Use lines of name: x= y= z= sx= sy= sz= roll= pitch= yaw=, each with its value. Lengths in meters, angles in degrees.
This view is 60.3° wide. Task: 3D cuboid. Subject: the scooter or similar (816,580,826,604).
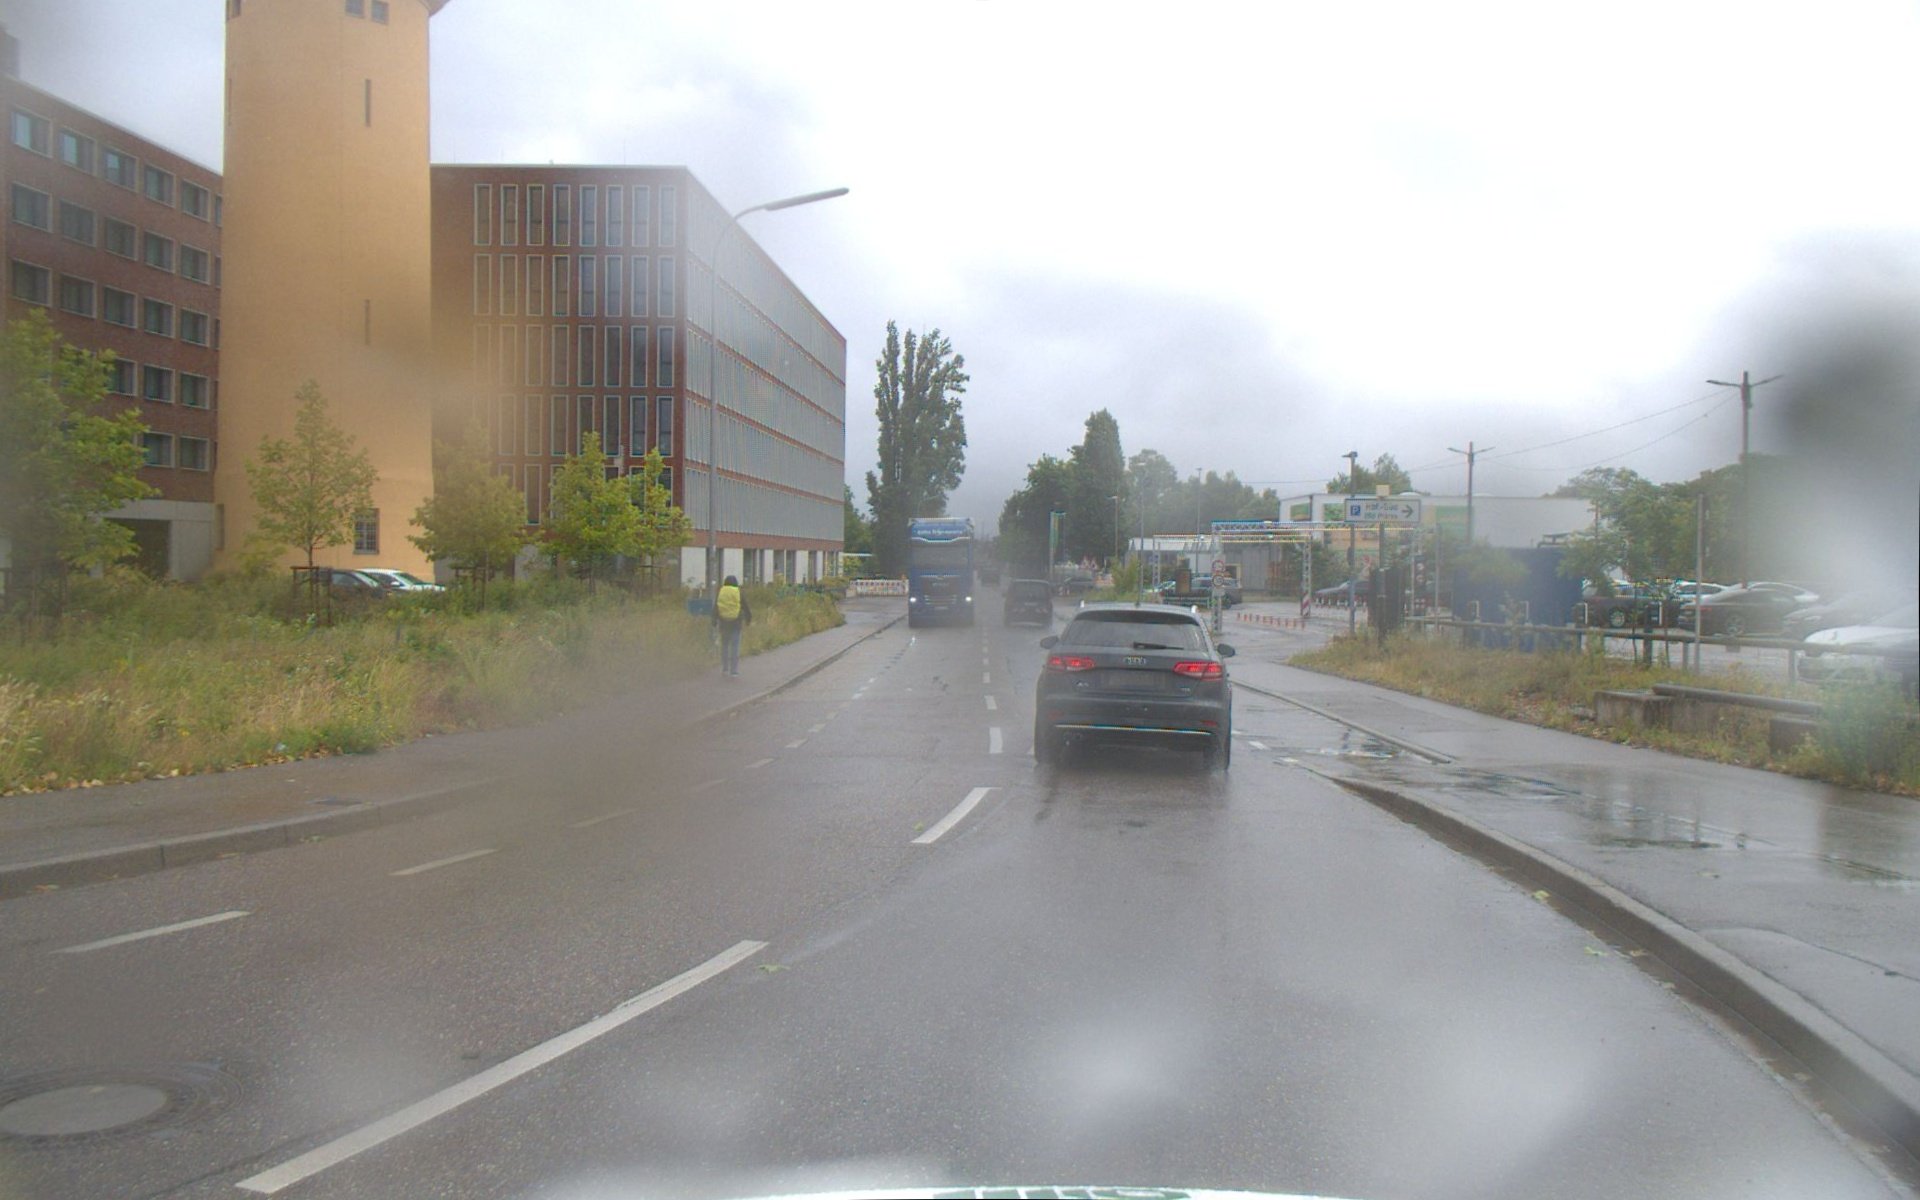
scooter or similar: x=-7.294 y=-0.442 z=86.678 sx=0.456 sy=1.251 sz=1.320 roll=0 pitch=1 yaw=-2

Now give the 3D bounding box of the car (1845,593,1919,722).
car: x=12.607 y=0.691 z=19.043 sx=3.817 sy=1.447 sz=1.905 roll=1 pitch=0 yaw=-2

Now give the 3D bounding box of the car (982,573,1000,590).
car: x=3.283 y=-1.943 z=174.133 sx=1.694 sy=1.716 sz=3.899 roll=1 pitch=0 yaw=3

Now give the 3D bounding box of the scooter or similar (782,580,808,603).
scooter or similar: x=-8.717 y=-0.464 z=87.348 sx=1.288 sy=1.198 sz=0.468 roll=0 pitch=1 yaw=6

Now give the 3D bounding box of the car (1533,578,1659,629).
car: x=22.095 y=0.121 z=57.571 sx=3.696 sy=1.611 sz=1.787 roll=-2 pitch=0 yaw=3

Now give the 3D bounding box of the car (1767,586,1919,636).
car: x=23.471 y=0.281 z=43.378 sx=3.805 sy=1.242 sz=1.649 roll=-1 pitch=0 yaw=5

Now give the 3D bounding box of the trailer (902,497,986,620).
trailer: x=-0.739 y=-1.721 z=71.027 sx=3.227 sy=4.735 sz=13.731 roll=0 pitch=1 yaw=-1

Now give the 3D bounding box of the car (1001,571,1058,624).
car: x=2.634 y=-0.117 z=63.525 sx=1.953 sy=1.943 sz=4.201 roll=0 pitch=1 yaw=-1

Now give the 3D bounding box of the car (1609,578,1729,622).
car: x=28.431 y=0.001 z=66.395 sx=3.976 sy=1.633 sz=1.927 roll=-2 pitch=0 yaw=1

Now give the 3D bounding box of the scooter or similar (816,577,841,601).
scooter or similar: x=-7.088 y=-0.588 z=89.269 sx=1.292 sy=1.251 sz=0.466 roll=1 pitch=1 yaw=30

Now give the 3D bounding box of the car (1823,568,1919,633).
car: x=23.522 y=-0.002 z=40.406 sx=3.870 sy=1.516 sz=1.870 roll=-1 pitch=0 yaw=2

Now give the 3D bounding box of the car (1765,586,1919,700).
car: x=12.949 y=0.582 z=21.861 sx=3.695 sy=1.417 sz=1.905 roll=1 pitch=0 yaw=-2

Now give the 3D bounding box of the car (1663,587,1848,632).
car: x=23.372 y=0.276 z=48.691 sx=4.494 sy=1.242 sz=1.978 roll=-1 pitch=0 yaw=-1

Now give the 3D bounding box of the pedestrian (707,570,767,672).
pedestrian: x=-3.904 y=0.354 z=28.993 sx=0.890 sy=1.748 sz=1.027 roll=1 pitch=0 yaw=0

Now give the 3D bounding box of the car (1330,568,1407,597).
car: x=23.097 y=-1.003 z=93.648 sx=3.904 sy=1.511 sz=2.000 roll=1 pitch=0 yaw=1

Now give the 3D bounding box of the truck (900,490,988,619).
truck: x=-0.649 y=-1.733 z=64.013 sx=3.227 sy=4.735 sz=6.032 roll=0 pitch=1 yaw=-1

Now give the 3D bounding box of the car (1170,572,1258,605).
car: x=13.714 y=-0.618 z=89.669 sx=4.582 sy=1.765 sz=2.129 roll=0 pitch=0 yaw=5

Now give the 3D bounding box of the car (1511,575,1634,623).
car: x=22.264 y=-0.040 z=60.242 sx=3.821 sy=1.611 sz=1.787 roll=-2 pitch=0 yaw=3

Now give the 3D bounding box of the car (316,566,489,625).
car: x=-16.379 y=-0.145 z=48.760 sx=4.430 sy=1.670 sz=1.999 roll=1 pitch=0 yaw=-3

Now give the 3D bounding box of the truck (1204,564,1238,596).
truck: x=23.160 y=-1.781 z=147.056 sx=2.253 sy=2.705 sz=7.420 roll=0 pitch=1 yaw=3

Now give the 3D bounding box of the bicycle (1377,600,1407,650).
bicycle: x=10.105 y=0.575 z=38.634 sx=0.496 sy=1.103 sz=1.703 roll=0 pitch=1 yaw=21

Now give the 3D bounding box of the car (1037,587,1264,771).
car: x=1.839 y=0.661 z=15.962 sx=1.854 sy=1.482 sz=4.230 roll=1 pitch=0 yaw=7

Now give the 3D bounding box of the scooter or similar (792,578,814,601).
scooter or similar: x=-8.545 y=-0.571 z=89.764 sx=0.459 sy=1.251 sz=1.200 roll=1 pitch=1 yaw=42

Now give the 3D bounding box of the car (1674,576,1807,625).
car: x=28.589 y=0.023 z=60.636 sx=3.978 sy=1.688 sz=1.831 roll=-1 pitch=0 yaw=-2
